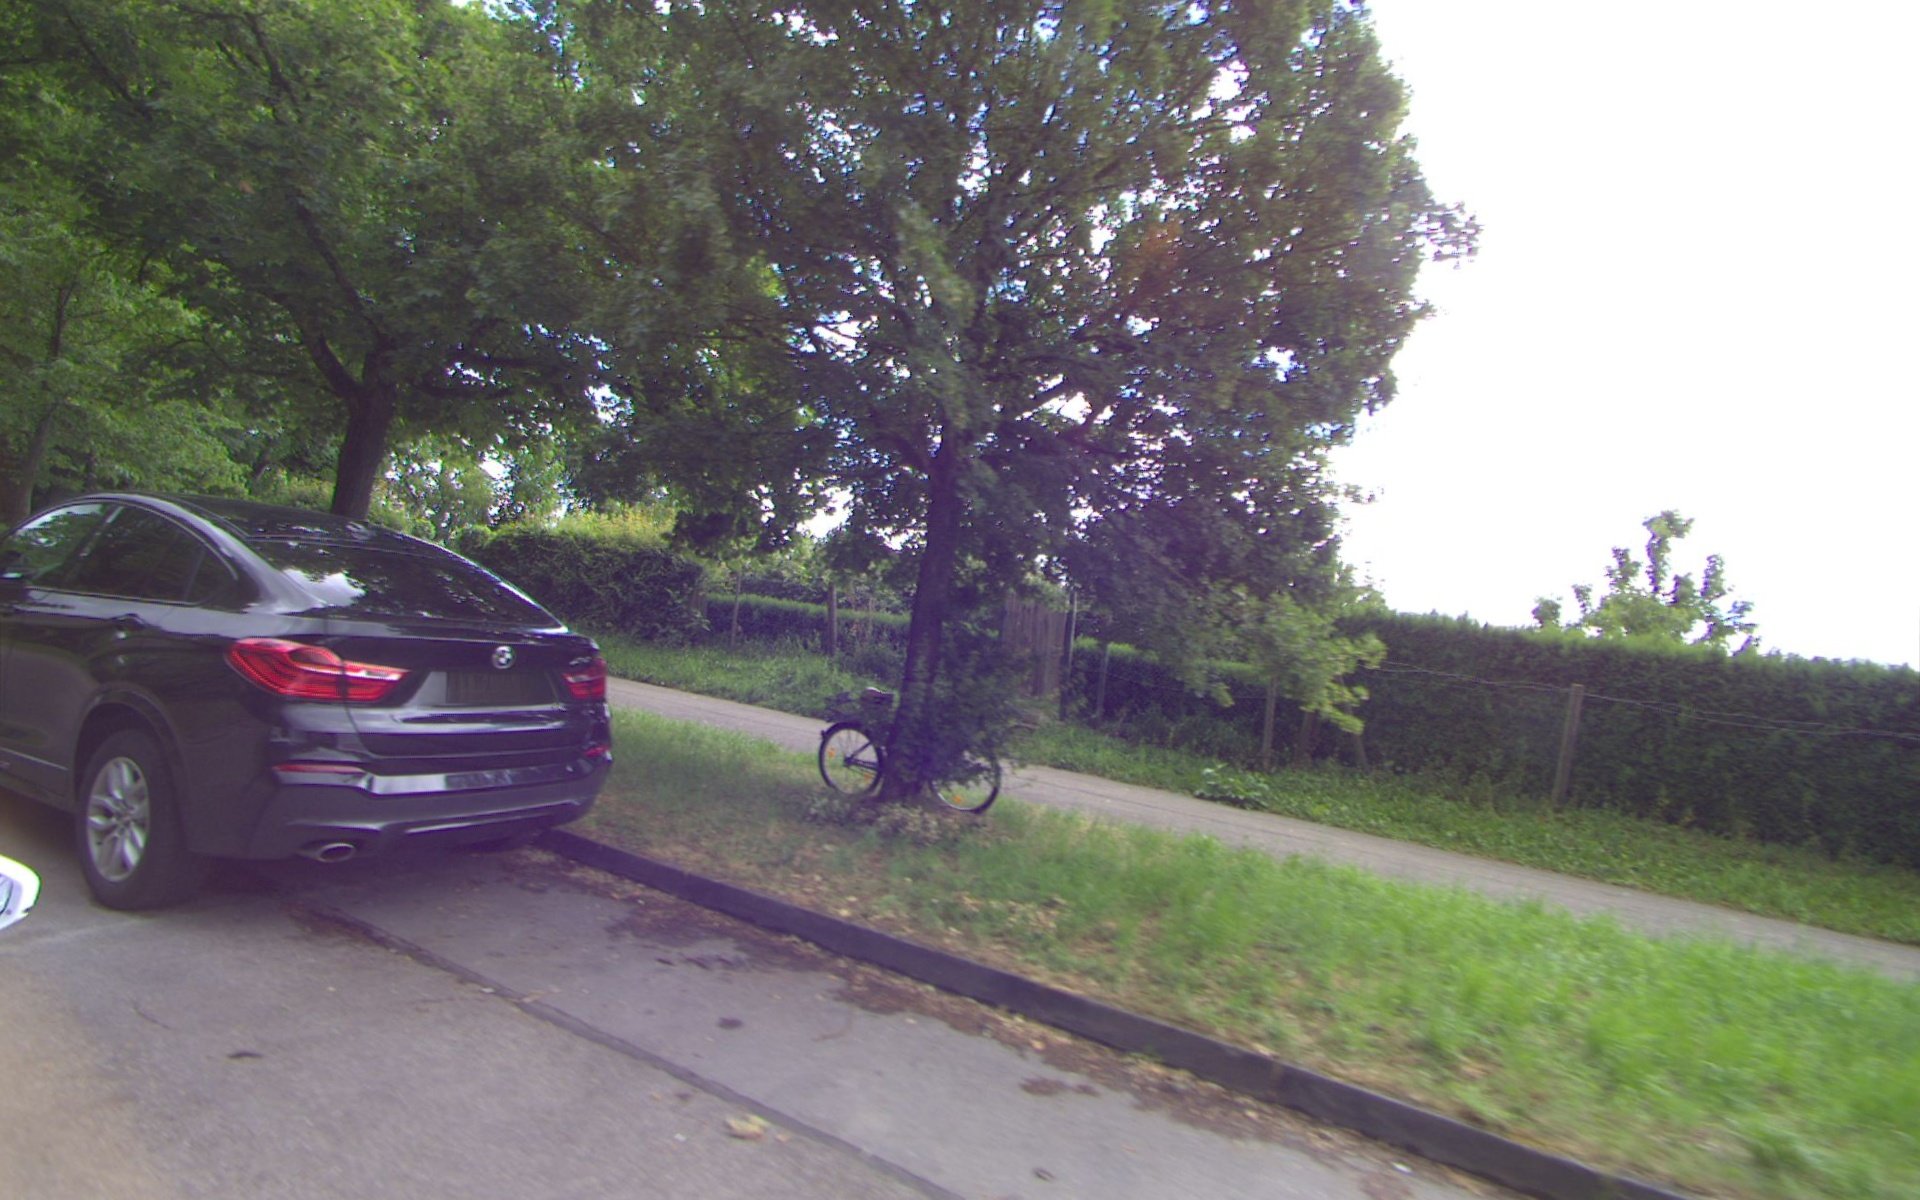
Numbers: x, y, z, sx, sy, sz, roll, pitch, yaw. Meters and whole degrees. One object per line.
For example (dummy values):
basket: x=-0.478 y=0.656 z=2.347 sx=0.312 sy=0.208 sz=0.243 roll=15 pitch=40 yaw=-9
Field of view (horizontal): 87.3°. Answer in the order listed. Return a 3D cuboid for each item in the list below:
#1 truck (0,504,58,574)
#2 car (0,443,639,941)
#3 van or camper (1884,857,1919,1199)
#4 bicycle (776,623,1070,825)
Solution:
truck: x=-62.118 y=-4.149 z=64.143 sx=2.657 sy=4.040 sz=9.551 roll=7 pitch=-4 yaw=-16
car: x=-4.119 y=0.196 z=5.325 sx=4.451 sy=1.662 sz=1.854 roll=7 pitch=-1 yaw=27
van or camper: x=4.525 y=0.782 z=0.197 sx=5.932 sy=2.564 sz=2.166 roll=6 pitch=-3 yaw=32
bicycle: x=-0.315 y=0.902 z=7.717 sx=2.146 sy=1.228 sz=0.536 roll=5 pitch=-3 yaw=27
